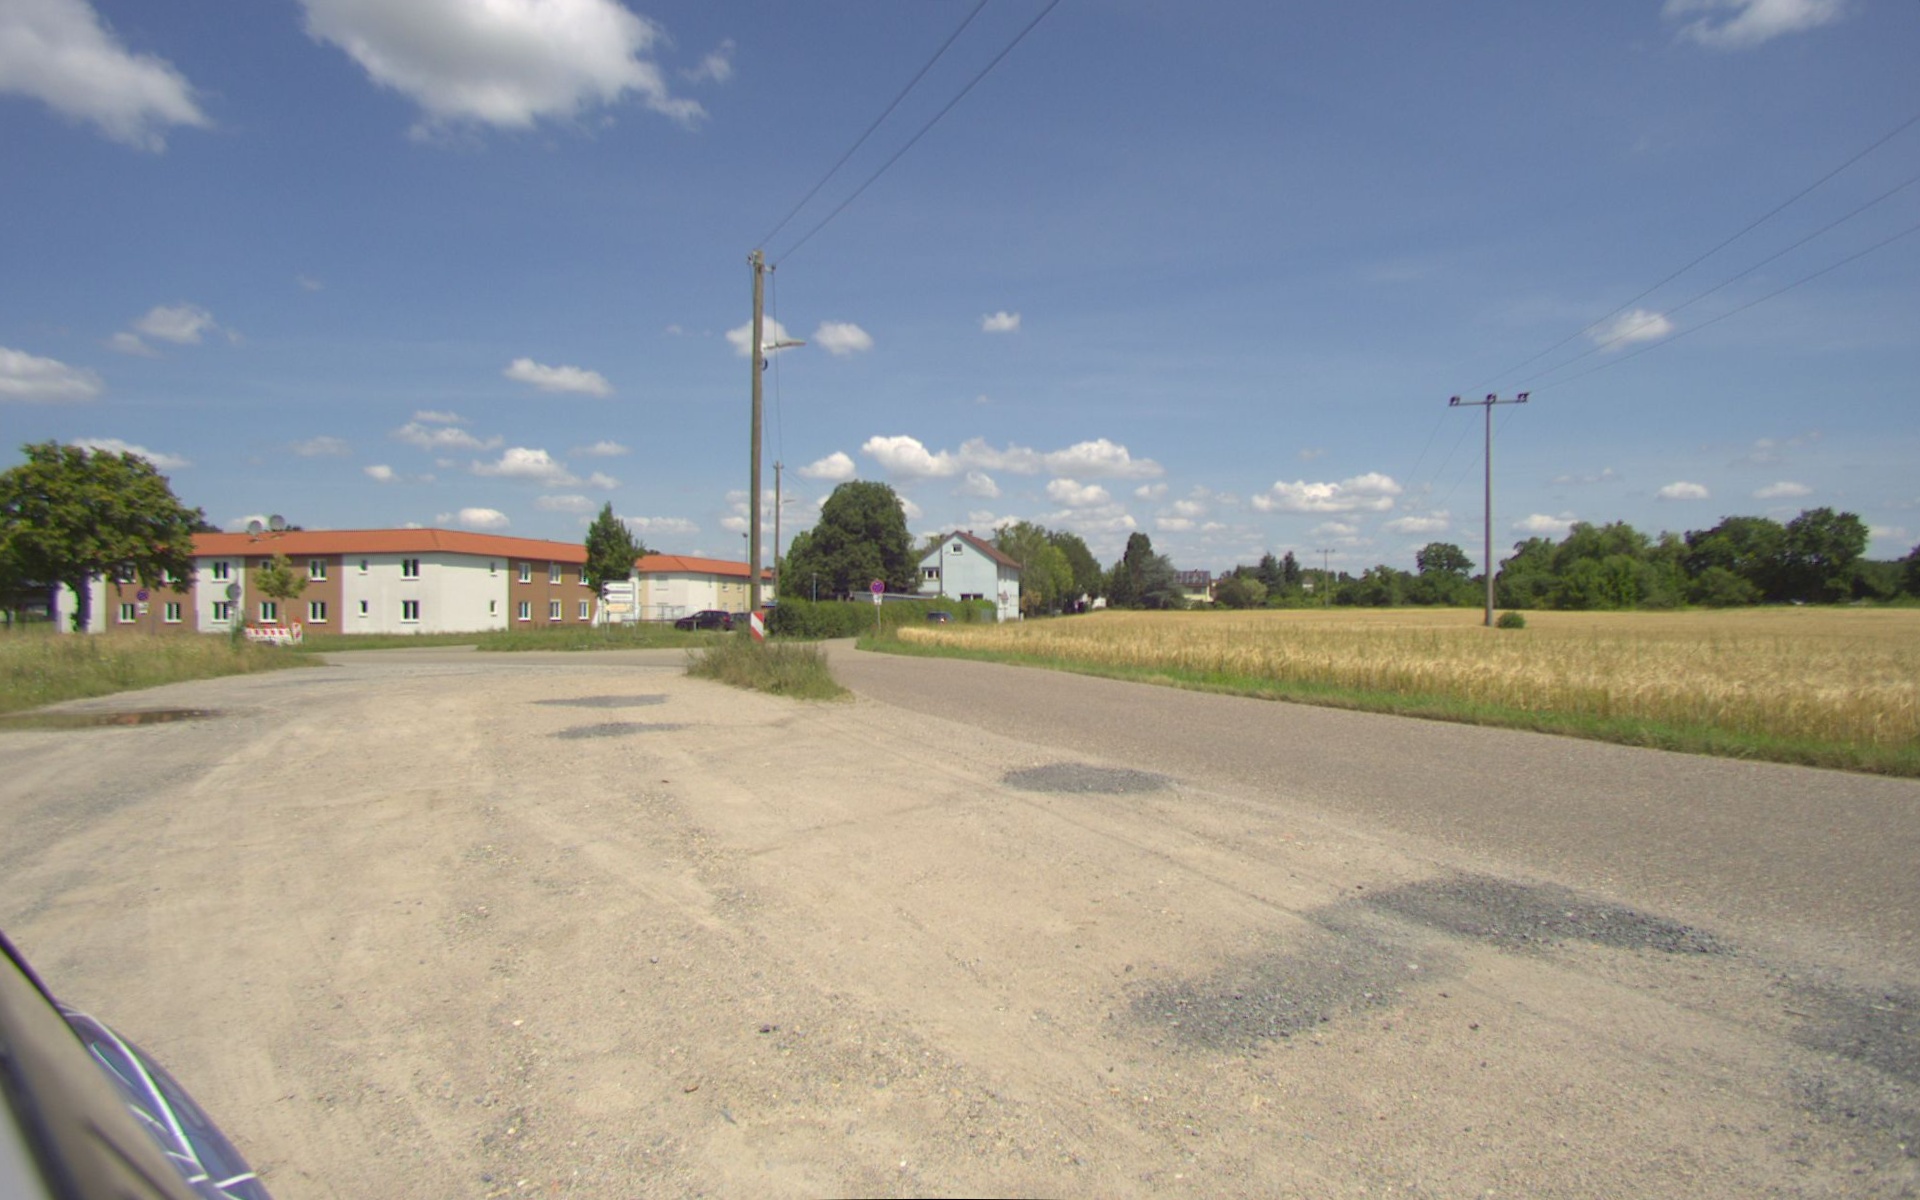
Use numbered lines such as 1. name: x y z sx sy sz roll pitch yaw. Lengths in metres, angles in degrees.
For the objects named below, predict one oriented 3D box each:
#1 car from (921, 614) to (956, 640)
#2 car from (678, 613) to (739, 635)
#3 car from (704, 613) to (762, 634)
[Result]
1. car: -1.468 1.865 71.159 1.730 1.692 4.242 -1 0 10
2. car: -19.116 1.855 77.049 4.104 1.627 1.993 0 -1 11
3. car: -18.105 1.901 80.844 4.104 1.627 1.993 0 -1 11
